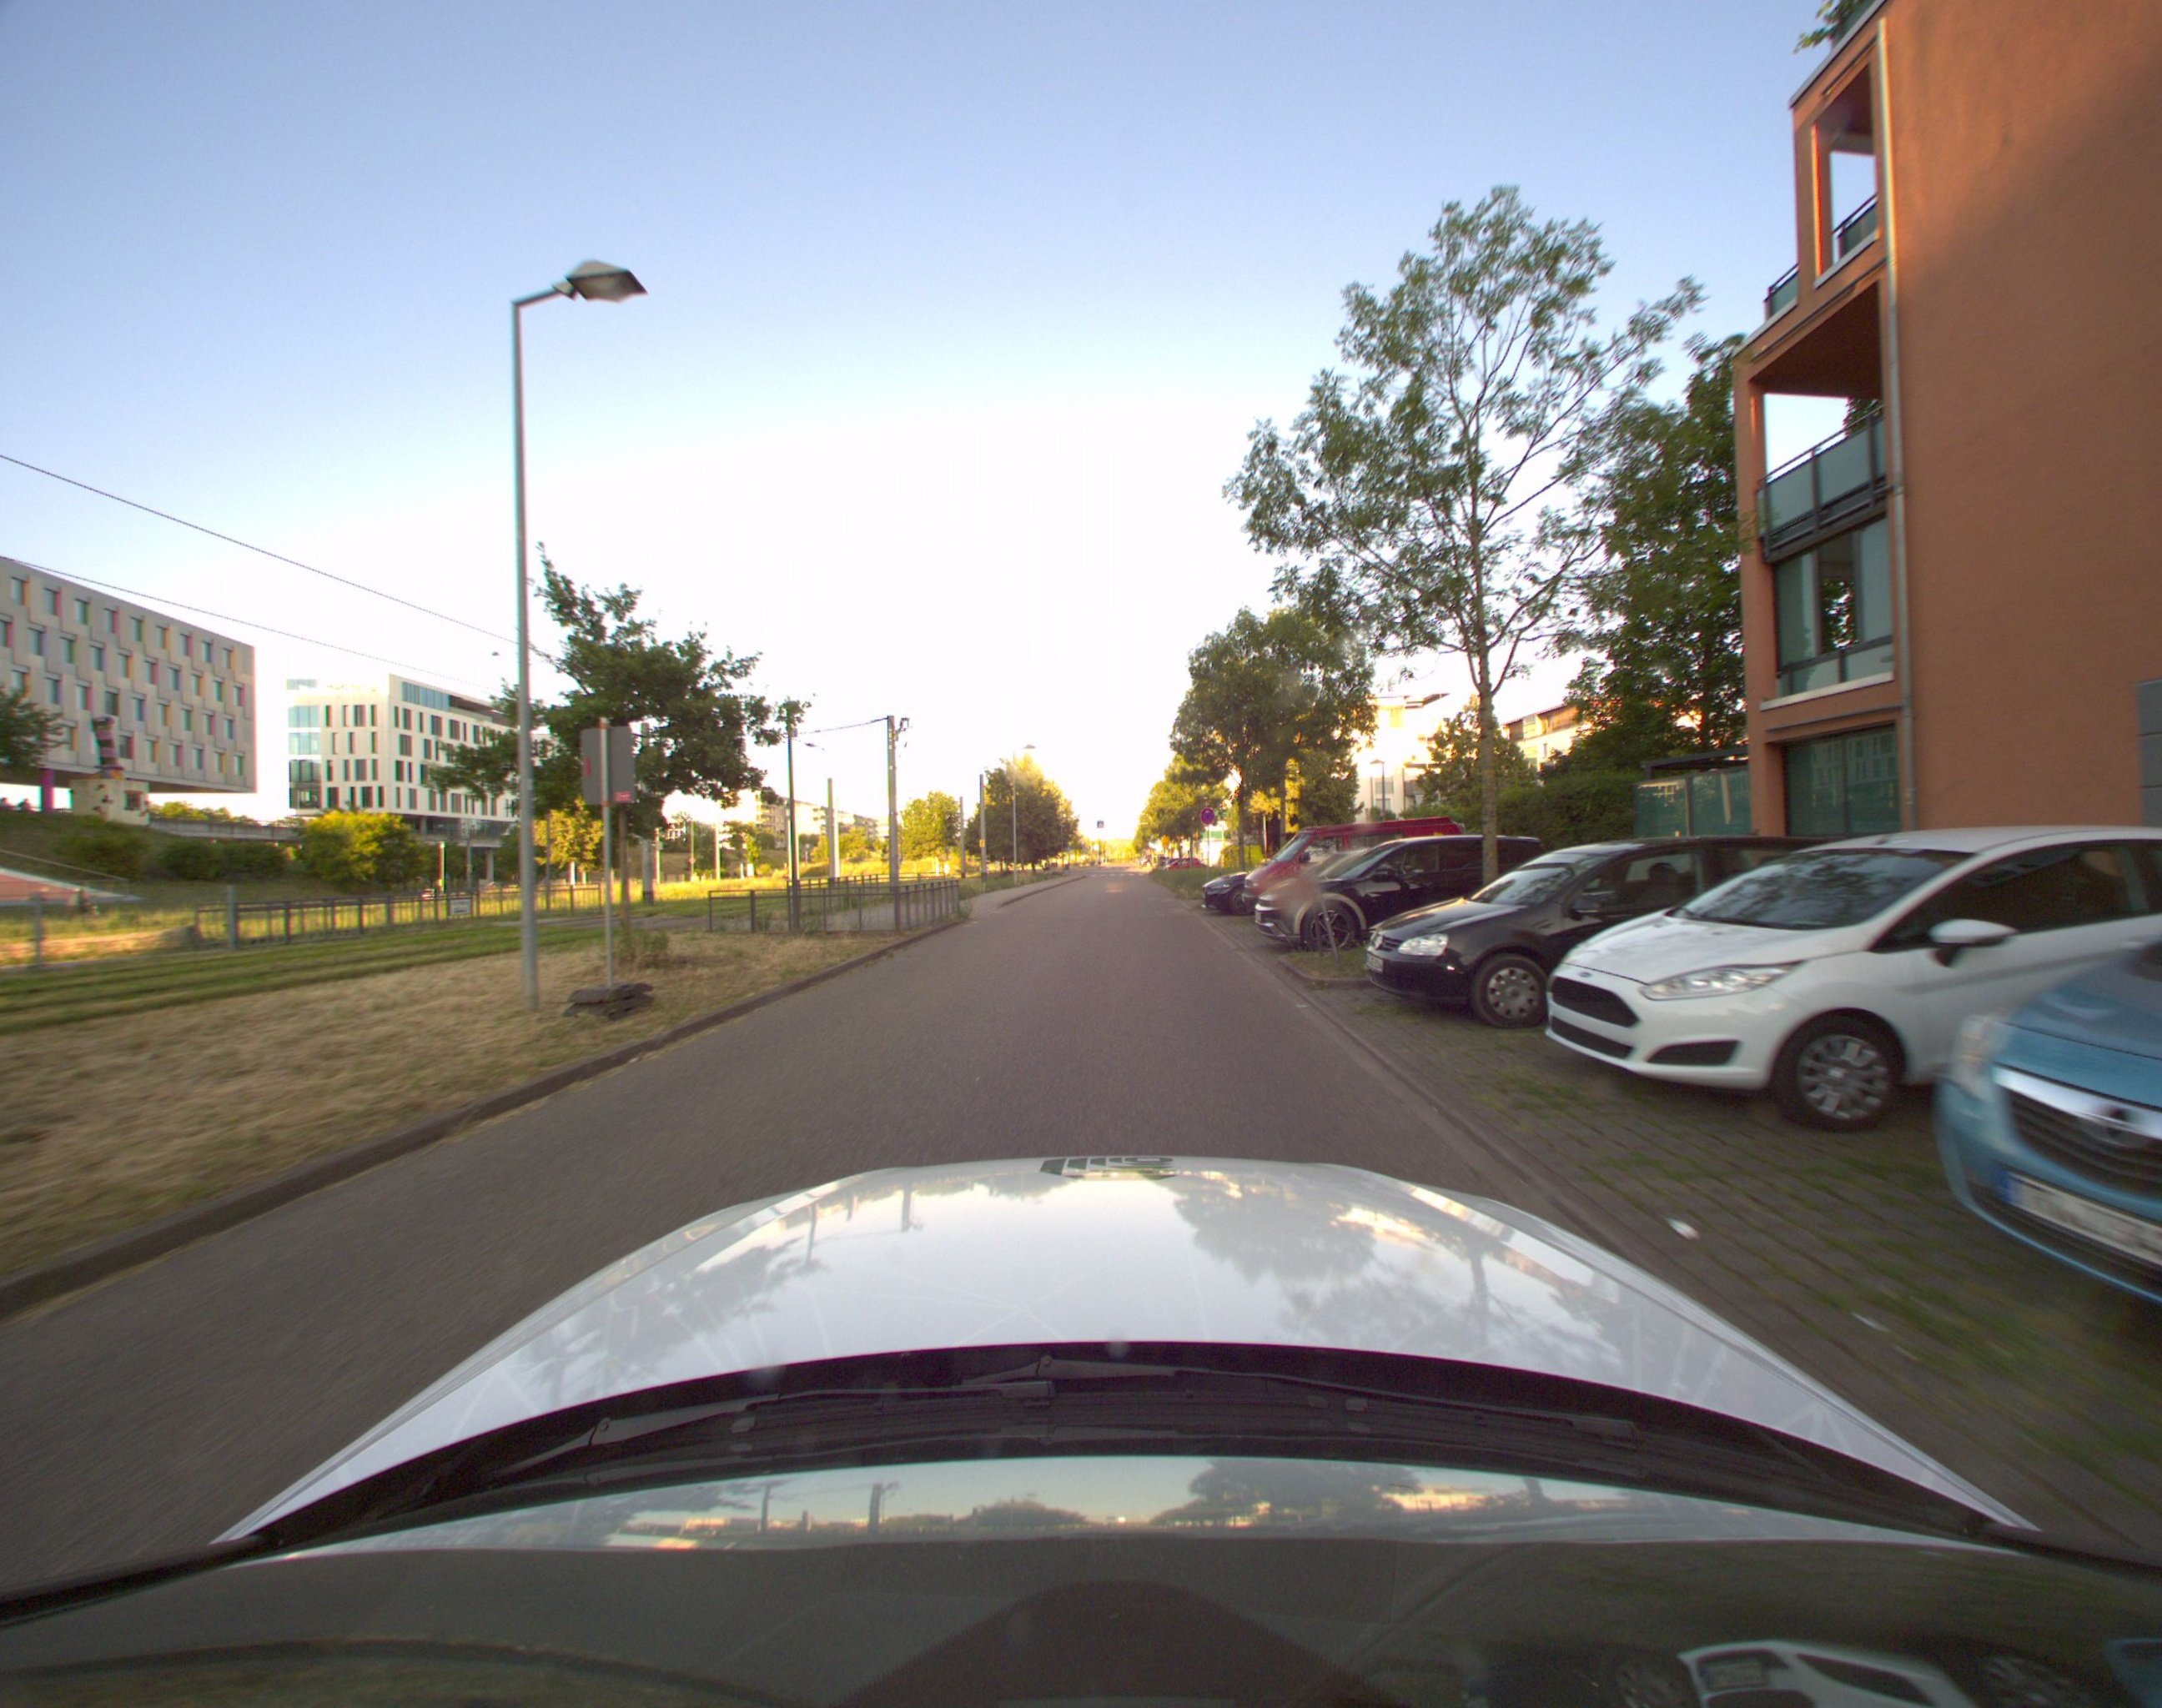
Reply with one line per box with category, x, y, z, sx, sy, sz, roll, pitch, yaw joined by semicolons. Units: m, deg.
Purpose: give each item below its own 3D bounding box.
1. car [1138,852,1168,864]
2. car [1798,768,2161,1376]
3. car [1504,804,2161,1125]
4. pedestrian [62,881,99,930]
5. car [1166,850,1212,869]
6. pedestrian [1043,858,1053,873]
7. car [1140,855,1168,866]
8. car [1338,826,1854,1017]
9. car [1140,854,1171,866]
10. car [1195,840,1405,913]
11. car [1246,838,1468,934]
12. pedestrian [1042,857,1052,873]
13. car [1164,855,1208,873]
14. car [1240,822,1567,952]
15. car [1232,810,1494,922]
car;12.809;0.709;144.528;4.989;2.045;2.249;-2;-1;-2
car;4.781;0.460;2.225;4.033;1.569;1.674;-3;0;3
car;4.908;0.550;4.889;3.860;1.569;1.621;-2;0;3
pedestrian;-44.126;2.258;35.926;0.614;2.082;0.791;0;-1;2
car;9.345;0.511;70.901;3.789;1.508;1.679;-2;-1;1
pedestrian;-3.659;1.257;89.320;0.983;1.693;0.697;-2;-1;-10
car;11.549;1.097;129.265;4.244;1.596;2.002;-2;-1;4
car;4.505;0.573;7.552;3.758;1.495;1.540;-2;-1;2
car;11.128;0.951;121.390;4.464;1.596;2.002;-2;-1;4
car;5.219;0.524;19.902;4.649;1.556;1.813;-2;0;3
car;4.979;0.573;15.039;3.511;1.465;1.617;-4;-1;3
pedestrian;-3.702;1.232;88.577;1.019;1.693;0.757;-2;-1;-10
car;9.471;0.903;73.561;3.789;1.508;1.679;-2;-1;1
car;4.679;0.472;12.319;4.198;1.569;1.794;-4;-1;3
car;5.850;0.255;17.412;4.898;2.117;2.019;-2;0;4
